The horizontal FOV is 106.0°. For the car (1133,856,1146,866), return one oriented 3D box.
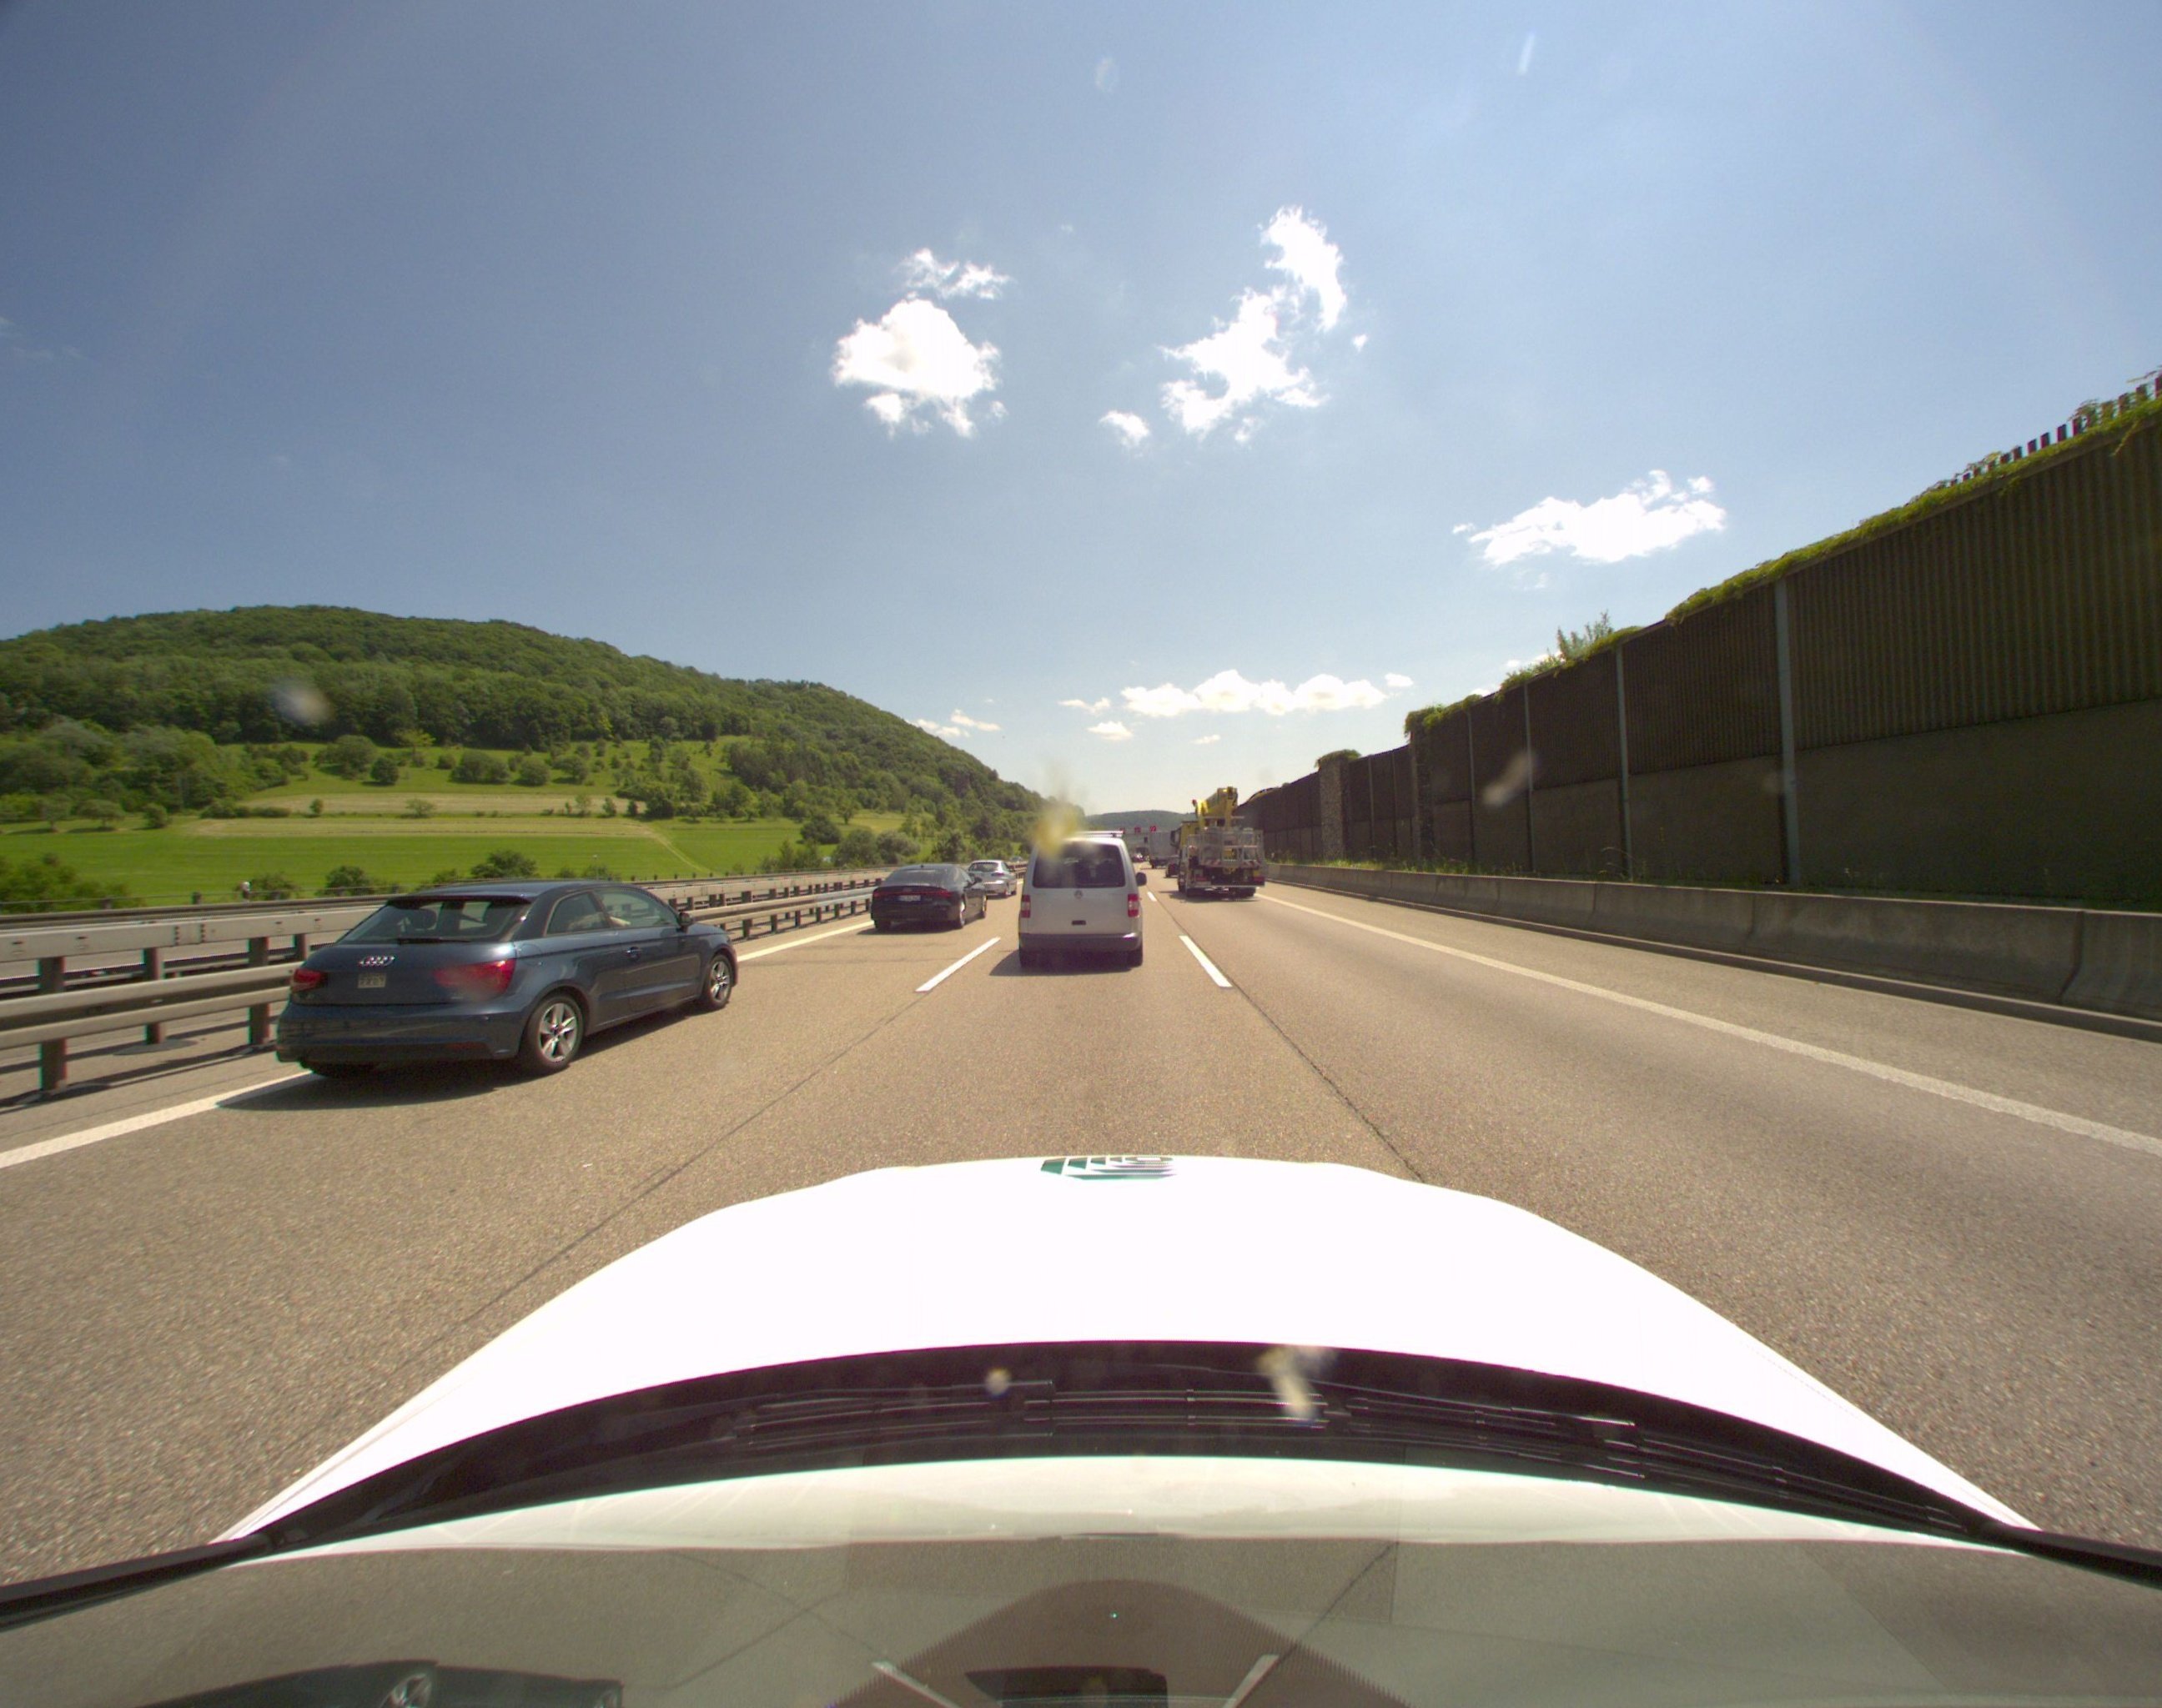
[{"bbox_3d":[11.027,1.272,154.254,2.108,1.828,3.997,0,-1,-2],"label":"car"}]

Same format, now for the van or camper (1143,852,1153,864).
[{"bbox_3d":[16.910,1.115,205.801,1.986,2.954,5.424,0,-1,2],"label":"van or camper"}]

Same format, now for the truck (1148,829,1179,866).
[{"bbox_3d":[8.803,-0.622,87.582,2.928,3.823,8.242,0,-1,3],"label":"truck"}]

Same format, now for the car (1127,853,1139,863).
[{"bbox_3d":[9.129,0.780,143.159,1.986,1.749,4.001,0,-1,2],"label":"car"}]

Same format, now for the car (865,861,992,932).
[{"bbox_3d":[-3.356,0.880,18.978,1.793,1.390,4.972,-1,0,2],"label":"car"}]

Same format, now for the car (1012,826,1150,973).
[{"bbox_3d":[-0.035,0.591,12.581,1.751,1.868,3.998,-1,0,-1],"label":"car"}]

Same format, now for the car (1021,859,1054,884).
[{"bbox_3d":[-2.654,1.041,50.694,1.919,1.499,3.998,-1,0,-1],"label":"car"}]

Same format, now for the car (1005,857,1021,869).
[{"bbox_3d":[-11.004,1.452,132.040,1.986,2.014,4.001,-1,0,1],"label":"car"}]

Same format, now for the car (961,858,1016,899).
[{"bbox_3d":[-3.479,0.887,31.141,1.691,1.445,3.860,-1,0,-1],"label":"car"}]

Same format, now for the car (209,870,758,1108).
[{"bbox_3d":[-4.523,0.881,7.071,1.682,1.388,4.002,-1,0,2],"label":"car"}]

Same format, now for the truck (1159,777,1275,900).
[{"bbox_3d":[4.836,-0.489,30.891,2.696,3.942,8.716,-1,0,-1],"label":"truck"}]

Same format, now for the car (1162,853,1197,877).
[{"bbox_3d":[6.483,0.701,53.992,1.781,1.458,3.768,-1,0,-1],"label":"car"}]

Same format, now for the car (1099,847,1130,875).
[{"bbox_3d":[2.409,0.517,59.759,1.988,1.975,3.998,-1,0,-1],"label":"car"}]
